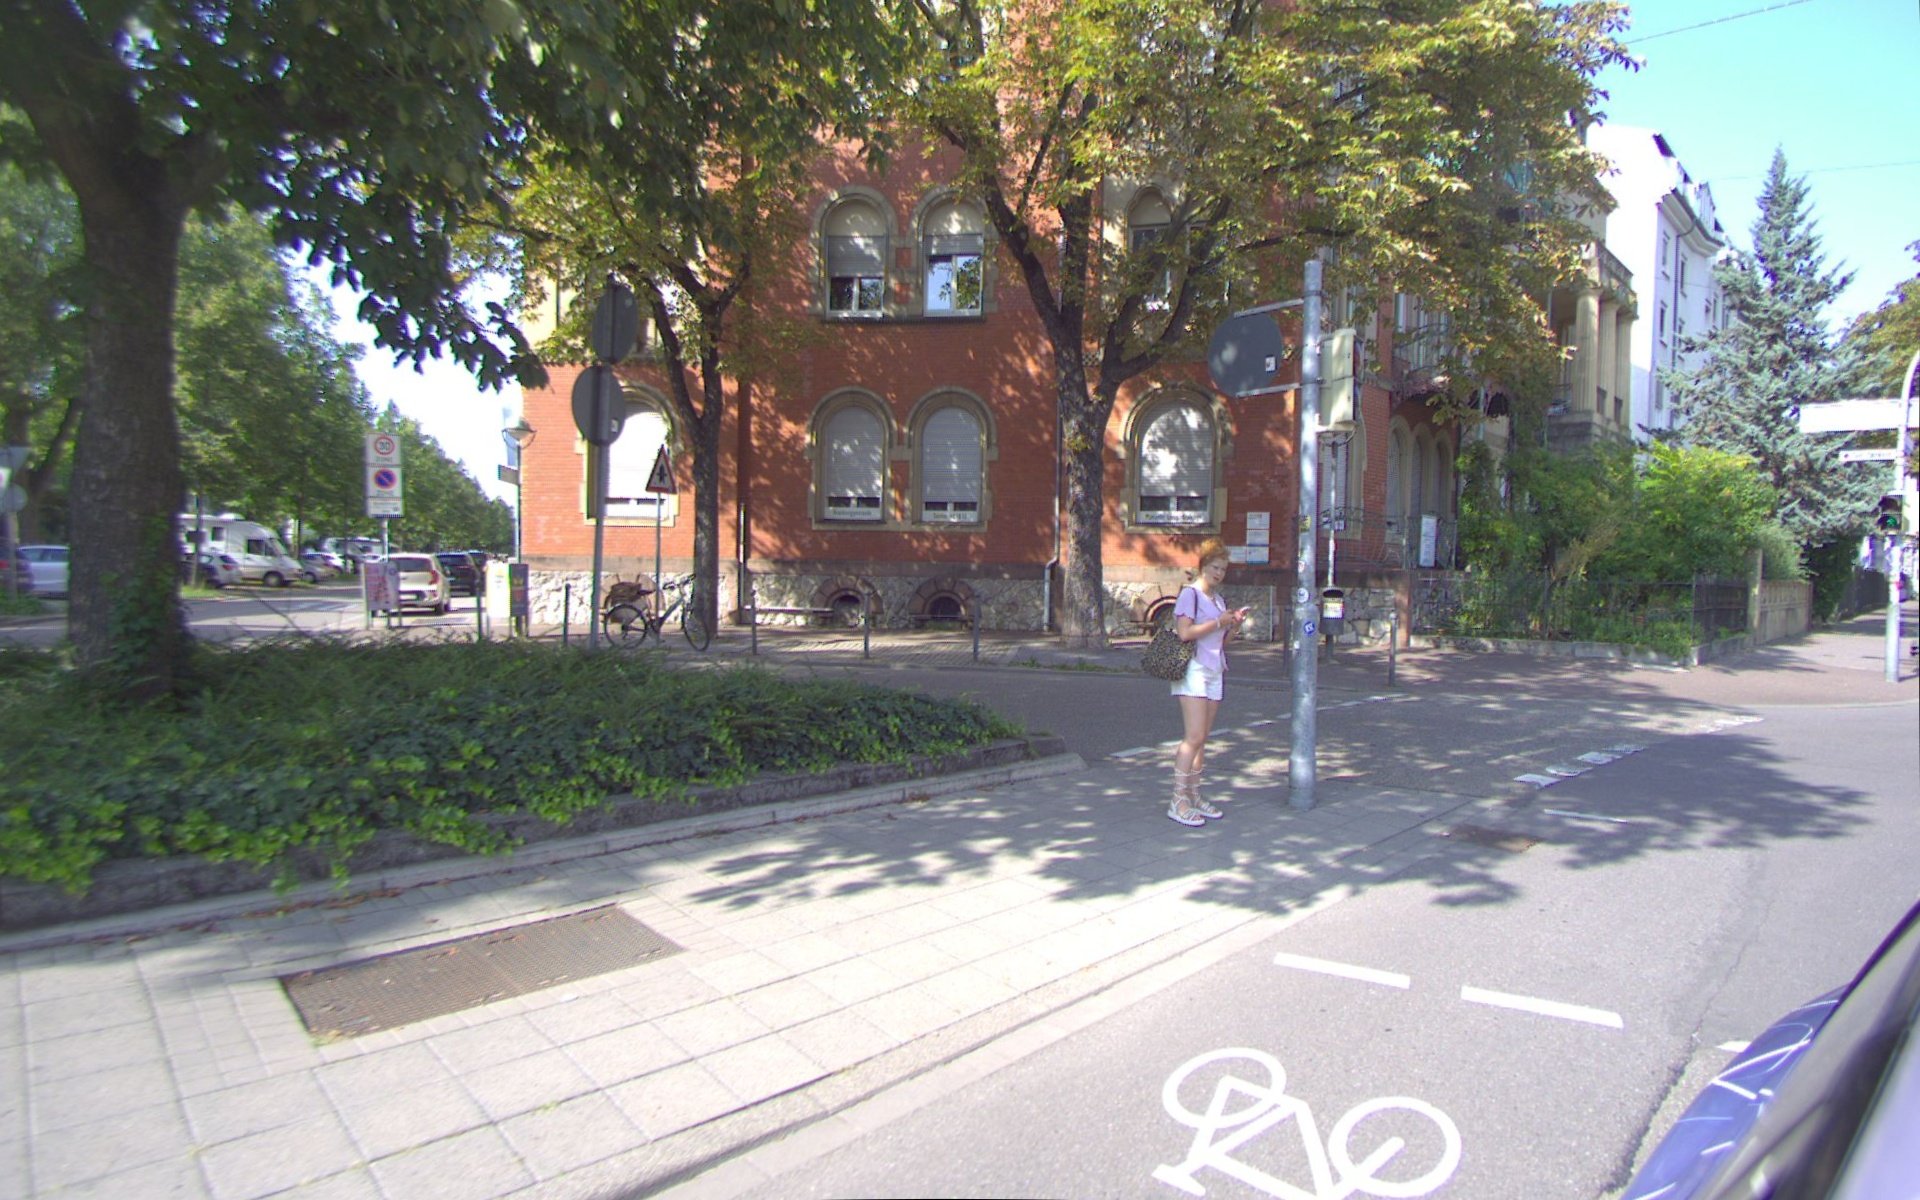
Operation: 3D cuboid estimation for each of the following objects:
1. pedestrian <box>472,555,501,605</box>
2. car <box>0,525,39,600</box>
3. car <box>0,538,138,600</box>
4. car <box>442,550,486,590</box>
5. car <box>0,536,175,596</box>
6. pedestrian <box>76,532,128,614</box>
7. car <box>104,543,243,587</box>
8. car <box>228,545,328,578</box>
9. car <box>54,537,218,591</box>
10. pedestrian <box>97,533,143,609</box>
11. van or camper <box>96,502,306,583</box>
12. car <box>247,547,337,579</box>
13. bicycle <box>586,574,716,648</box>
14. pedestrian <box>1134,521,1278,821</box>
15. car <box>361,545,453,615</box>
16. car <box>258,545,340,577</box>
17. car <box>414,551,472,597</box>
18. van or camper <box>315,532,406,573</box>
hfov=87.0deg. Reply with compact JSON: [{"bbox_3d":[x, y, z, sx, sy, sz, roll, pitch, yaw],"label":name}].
[{"bbox_3d":[-12.992,-0.553,27.782,0.703,1.341,0.680,0,2,-23],"label":"pedestrian"},{"bbox_3d":[-23.338,-0.859,22.353,4.108,1.658,1.666,0,2,-24],"label":"car"},{"bbox_3d":[-25.094,-0.864,27.417,4.110,1.480,1.665,3,0,-30],"label":"car"},{"bbox_3d":[-22.890,-1.403,46.821,1.588,1.722,4.009,0,2,-23],"label":"car"},{"bbox_3d":[-25.625,-0.981,29.606,3.940,1.480,1.665,3,0,-30],"label":"car"},{"bbox_3d":[-19.140,-0.612,22.574,0.644,1.785,0.606,1,2,7],"label":"pedestrian"},{"bbox_3d":[-30.200,-1.342,39.001,3.940,1.385,1.665,3,0,-30],"label":"car"},{"bbox_3d":[-34.067,-1.928,50.667,3.940,1.385,1.665,3,0,-30],"label":"car"},{"bbox_3d":[-27.316,-1.175,33.730,3.940,1.480,1.665,3,0,-30],"label":"car"},{"bbox_3d":[-19.848,-0.688,23.924,0.580,1.785,0.606,1,2,5],"label":"pedestrian"},{"bbox_3d":[-32.216,-2.366,43.293,6.798,2.919,2.003,3,-2,-25],"label":"van or camper"},{"bbox_3d":[-36.320,-2.027,55.139,3.940,1.454,1.665,3,0,-30],"label":"car"},{"bbox_3d":[-4.662,0.164,15.340,1.803,1.072,0.609,0,-1,-3],"label":"bicycle"},{"bbox_3d":[1.521,0.399,6.266,0.649,1.739,0.544,0,2,-35],"label":"pedestrian"},{"bbox_3d":[-13.596,-0.533,25.045,1.588,1.586,4.009,0,2,-23],"label":"car"},{"bbox_3d":[-39.307,-2.337,60.297,3.940,1.611,1.665,3,0,-30],"label":"car"},{"bbox_3d":[-18.931,-0.985,37.165,1.588,1.586,4.009,0,2,-23],"label":"car"},{"bbox_3d":[-50.116,-3.938,84.738,6.198,2.919,2.003,3,-2,-24],"label":"van or camper"}]
